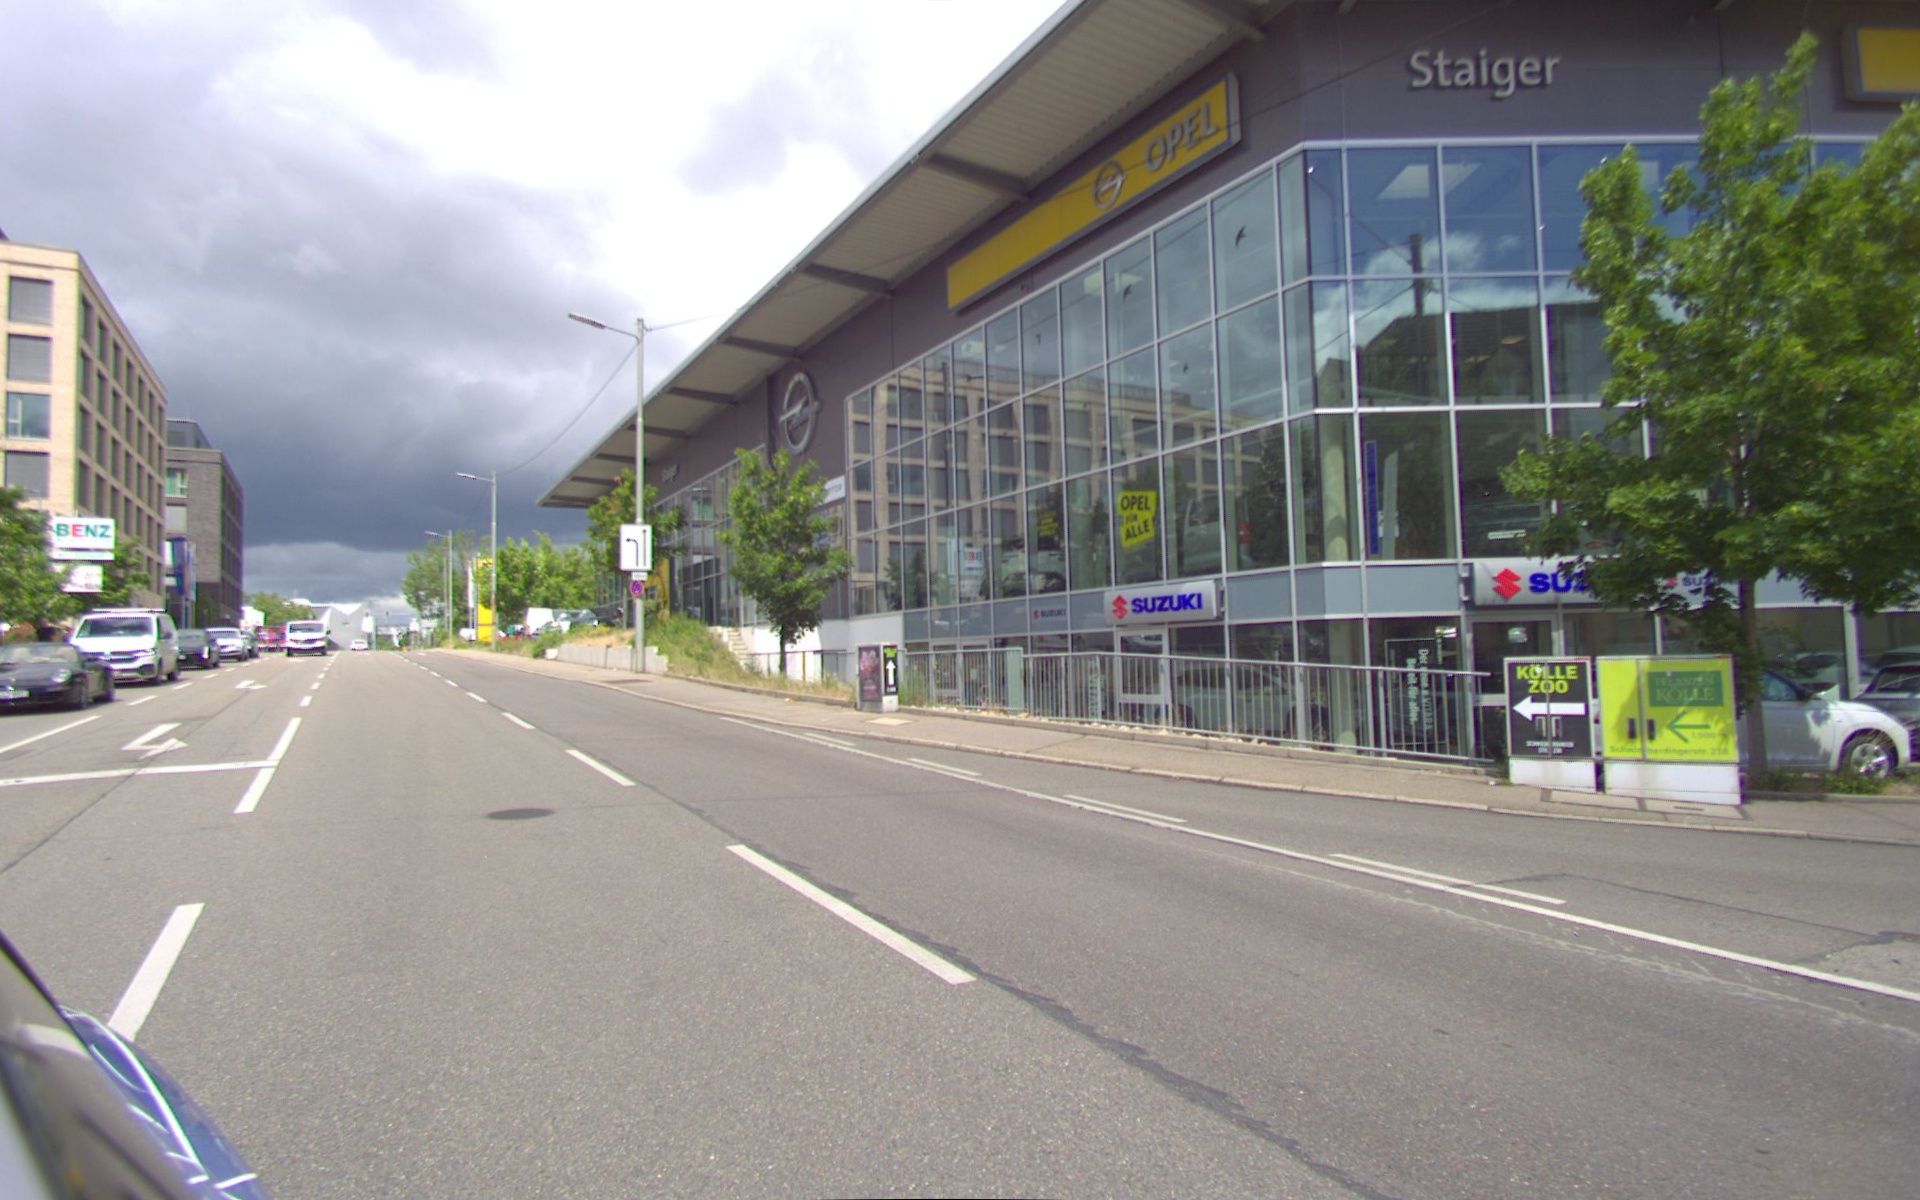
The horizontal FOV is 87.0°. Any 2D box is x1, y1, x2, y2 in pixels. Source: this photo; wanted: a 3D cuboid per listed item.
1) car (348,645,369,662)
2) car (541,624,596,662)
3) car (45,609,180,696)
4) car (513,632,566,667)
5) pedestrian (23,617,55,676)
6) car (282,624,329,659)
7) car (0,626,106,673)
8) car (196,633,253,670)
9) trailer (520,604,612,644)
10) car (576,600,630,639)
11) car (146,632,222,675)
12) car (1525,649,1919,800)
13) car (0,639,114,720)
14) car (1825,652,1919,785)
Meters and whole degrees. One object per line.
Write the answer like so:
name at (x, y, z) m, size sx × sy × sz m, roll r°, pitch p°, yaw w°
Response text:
car at (-69.863, 6.188, 117.533) m, size 1.966 × 1.754 × 4.560 m, roll 0°, pitch -1°, yaw -32°
car at (-19.564, 2.122, 50.707) m, size 1.967 × 1.807 × 4.009 m, roll 0°, pitch -2°, yaw -12°
car at (-22.471, 1.320, 27.036) m, size 2.055 × 2.065 × 4.774 m, roll -1°, pitch -1°, yaw -32°
car at (-22.859, 2.672, 55.187) m, size 1.967 × 1.807 × 4.009 m, roll 0°, pitch -1°, yaw -12°
pedestrian at (-27.738, 1.389, 30.488) m, size 0.592 × 1.733 × 0.555 m, roll 0°, pitch -2°, yaw -31°
car at (-36.283, 2.277, 56.186) m, size 1.966 × 1.844 × 4.560 m, roll 0°, pitch -1°, yaw -31°
car at (-35.262, 1.866, 38.611) m, size 3.934 × 1.746 × 1.828 m, roll 1°, pitch -2°, yaw -35°
car at (-33.894, 2.315, 46.703) m, size 1.789 × 1.599 × 4.011 m, roll 1°, pitch -2°, yaw -32°
trailer at (-24.341, 1.497, 62.521) m, size 4.992 × 2.367 × 2.005 m, roll 1°, pitch -2°, yaw -33°
car at (-16.358, 0.907, 46.570) m, size 1.966 × 1.741 × 4.011 m, roll 0°, pitch -2°, yaw -14°
car at (-28.512, 1.922, 37.283) m, size 1.789 × 1.474 × 4.011 m, roll 1°, pitch -2°, yaw -32°
car at (9.261, 1.467, 12.419) m, size 3.635 × 1.587 × 1.755 m, roll -1°, pitch 0°, yaw 1°
car at (-17.415, 1.434, 18.976) m, size 1.795 × 1.303 × 4.050 m, roll -1°, pitch -1°, yaw -32°
car at (13.343, 1.441, 12.688) m, size 3.736 × 1.535 × 1.518 m, roll -1°, pitch -1°, yaw -3°
